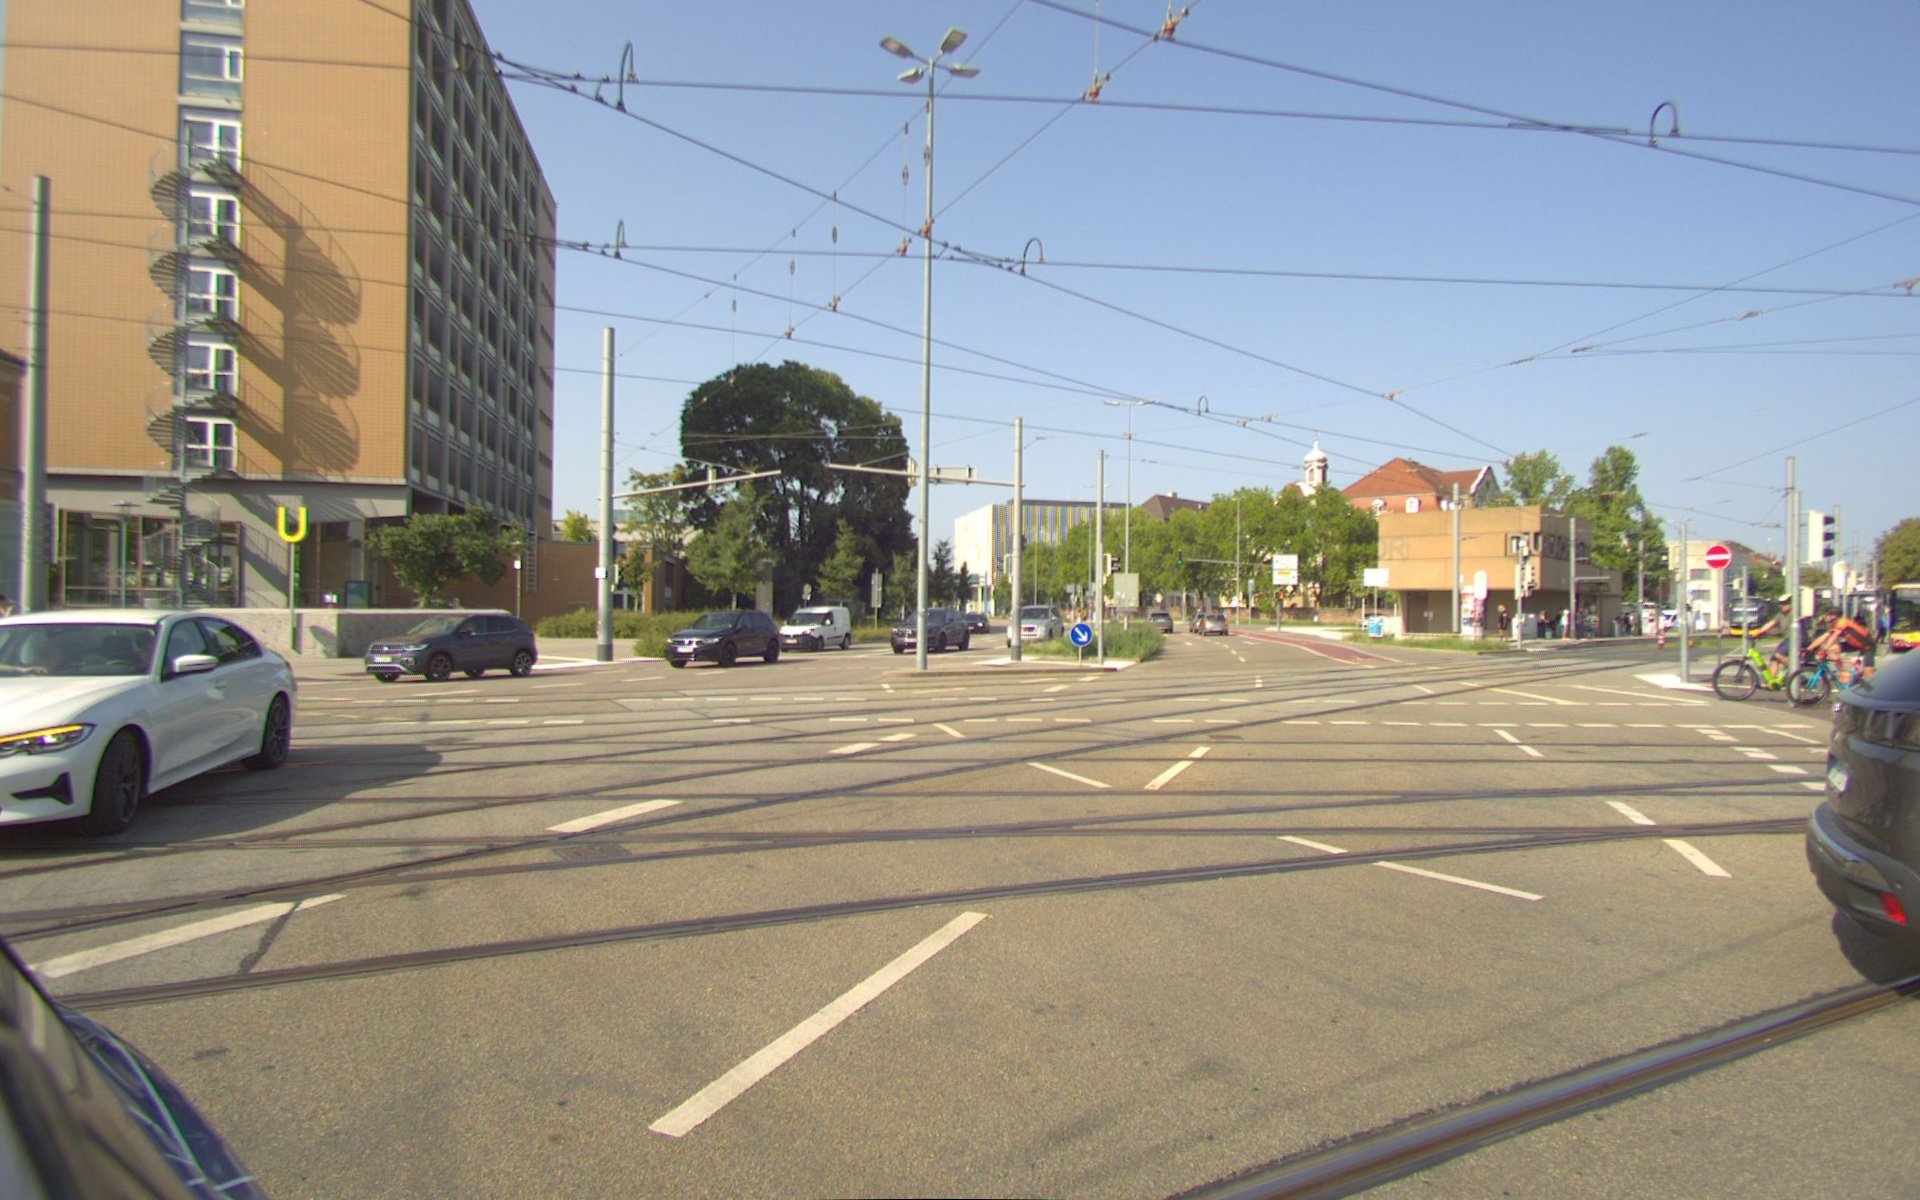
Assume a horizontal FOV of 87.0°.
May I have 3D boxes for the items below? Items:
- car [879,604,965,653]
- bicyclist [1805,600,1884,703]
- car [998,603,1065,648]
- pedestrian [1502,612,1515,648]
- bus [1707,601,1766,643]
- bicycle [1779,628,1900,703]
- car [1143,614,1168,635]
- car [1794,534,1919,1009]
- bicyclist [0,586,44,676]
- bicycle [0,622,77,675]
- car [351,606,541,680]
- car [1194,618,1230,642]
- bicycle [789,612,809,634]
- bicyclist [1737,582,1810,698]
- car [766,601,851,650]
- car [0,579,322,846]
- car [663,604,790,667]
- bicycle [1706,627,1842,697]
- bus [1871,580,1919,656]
[{"bbox_3d":[-1.383,1.061,38.772,1.910,1.720,4.264,-2,-1,18],"label":"car"},{"bbox_3d":[14.344,0.818,16.433,0.800,1.642,0.509,0,-1,16],"label":"bicyclist"},{"bbox_3d":[3.046,1.056,42.496,1.935,1.720,4.267,-2,-1,16],"label":"car"},{"bbox_3d":[27.367,1.480,50.484,0.551,1.782,0.404,1,-1,-44],"label":"pedestrian"},{"bbox_3d":[68.276,1.903,88.847,3.224,3.445,13.132,0,-1,42],"label":"bus"},{"bbox_3d":[14.319,1.052,16.501,1.485,1.174,0.310,0,-1,16],"label":"bicycle"},{"bbox_3d":[14.122,1.737,73.287,1.475,1.462,3.518,0,-1,5],"label":"car"},{"bbox_3d":[5.412,0.600,3.084,4.351,1.633,1.974,0,-1,38],"label":"car"},{"bbox_3d":[-20.187,0.659,21.610,0.779,1.876,0.703,0,-1,29],"label":"bicyclist"},{"bbox_3d":[-20.235,1.025,21.499,0.527,1.104,2.166,0,-1,28],"label":"bicycle"},{"bbox_3d":[-12.046,0.967,24.002,1.731,1.594,3.950,-1,-1,20],"label":"car"},{"bbox_3d":[16.734,1.995,67.328,1.760,1.519,3.993,0,-1,5],"label":"car"},{"bbox_3d":[-9.009,1.295,56.715,0.398,1.203,1.763,0,-1,16],"label":"bicycle"},{"bbox_3d":[14.271,0.682,17.771,0.800,1.989,0.578,0,-1,15],"label":"bicyclist"},{"bbox_3d":[-6.200,1.039,41.855,1.780,1.901,4.264,-2,-1,18],"label":"car"},{"bbox_3d":[-6.611,0.639,7.563,1.784,1.438,4.788,-1,0,-15],"label":"car"},{"bbox_3d":[-6.867,1.017,30.239,1.754,1.720,4.264,-2,-1,18],"label":"car"},{"bbox_3d":[14.255,1.075,17.765,1.842,1.174,0.375,0,-1,16],"label":"bicycle"},{"bbox_3d":[44.746,0.847,47.179,3.224,3.203,13.132,0,-1,42],"label":"bus"}]
